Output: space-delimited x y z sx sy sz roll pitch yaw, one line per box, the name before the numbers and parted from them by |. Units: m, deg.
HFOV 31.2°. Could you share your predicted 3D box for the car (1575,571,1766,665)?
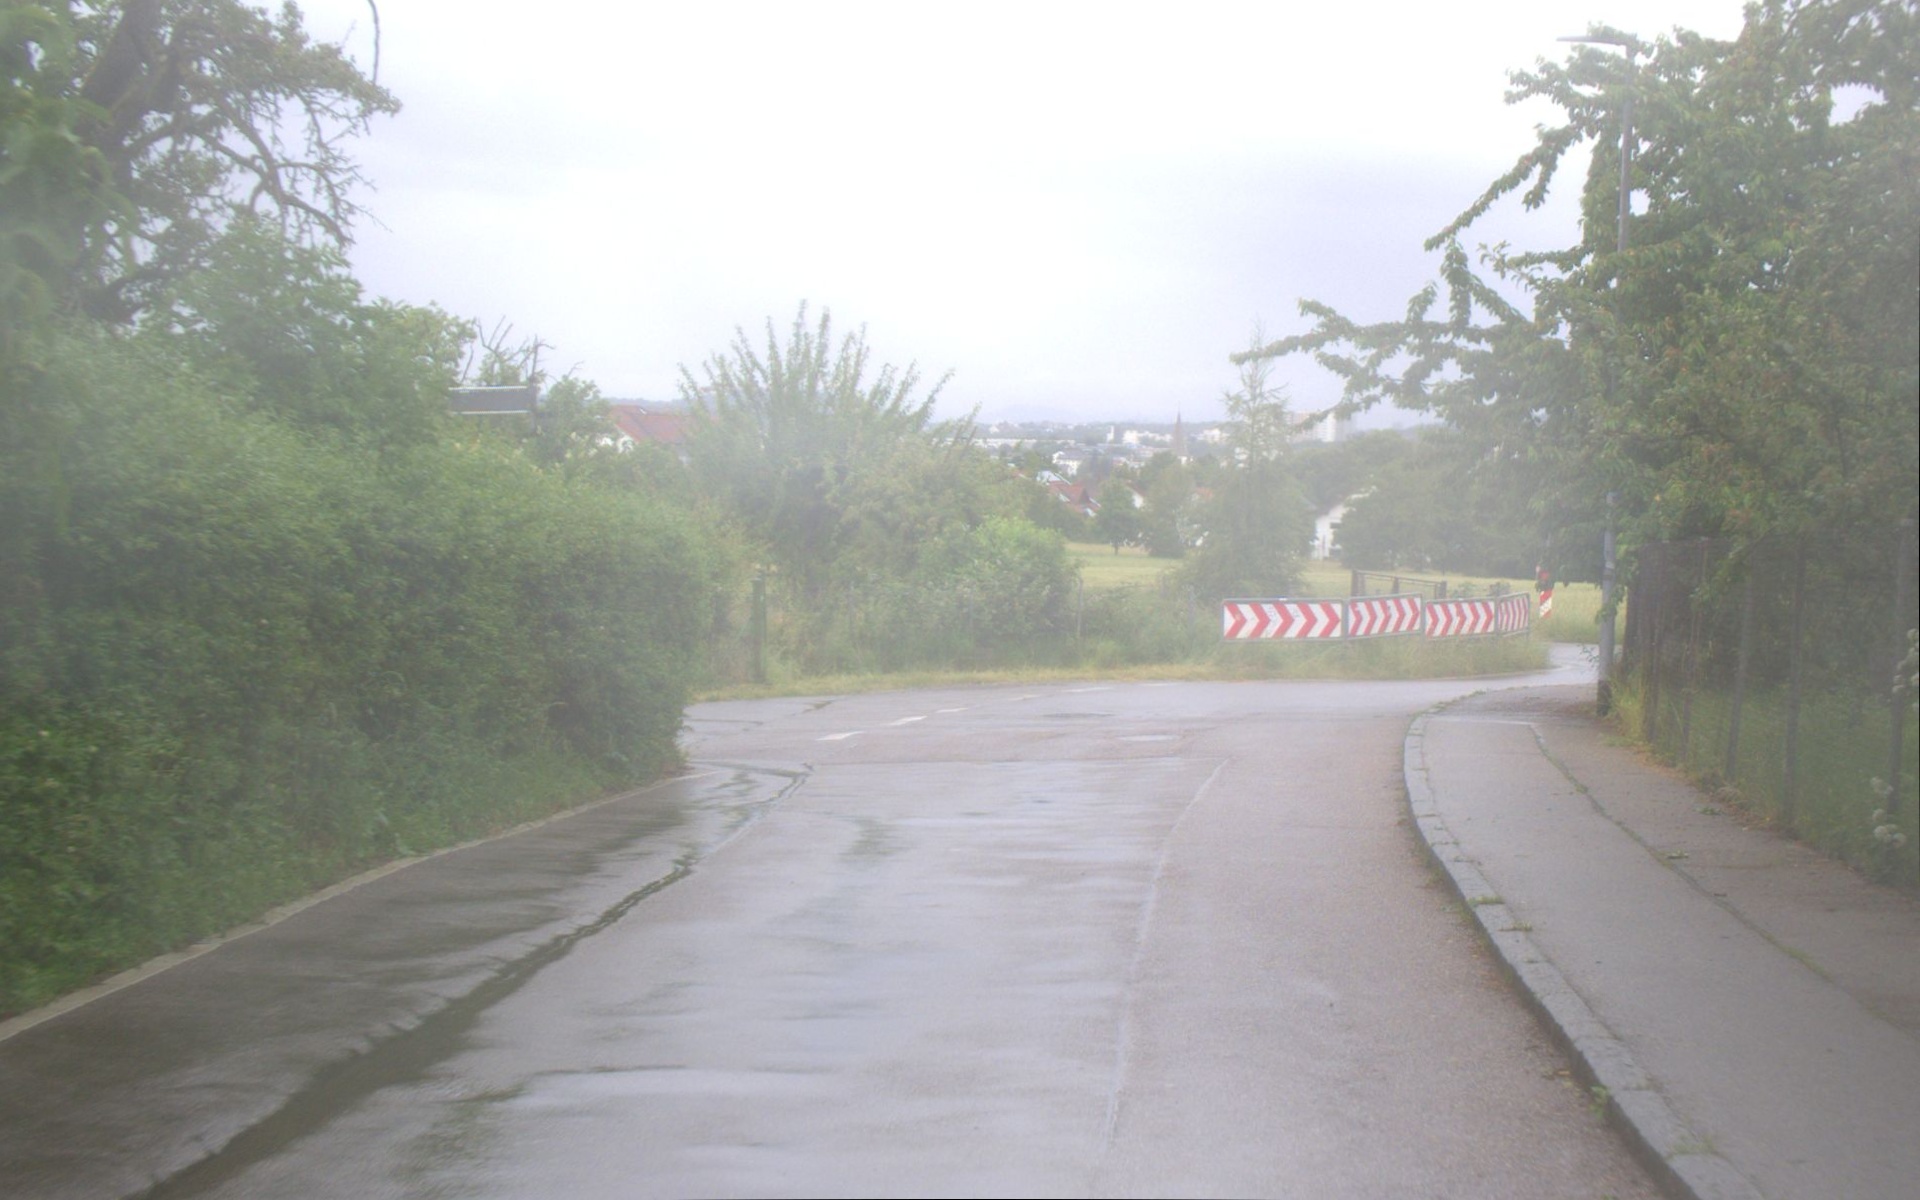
car | 12.722 0.304 61.784 1.814 1.588 4.001 1 0 -13
